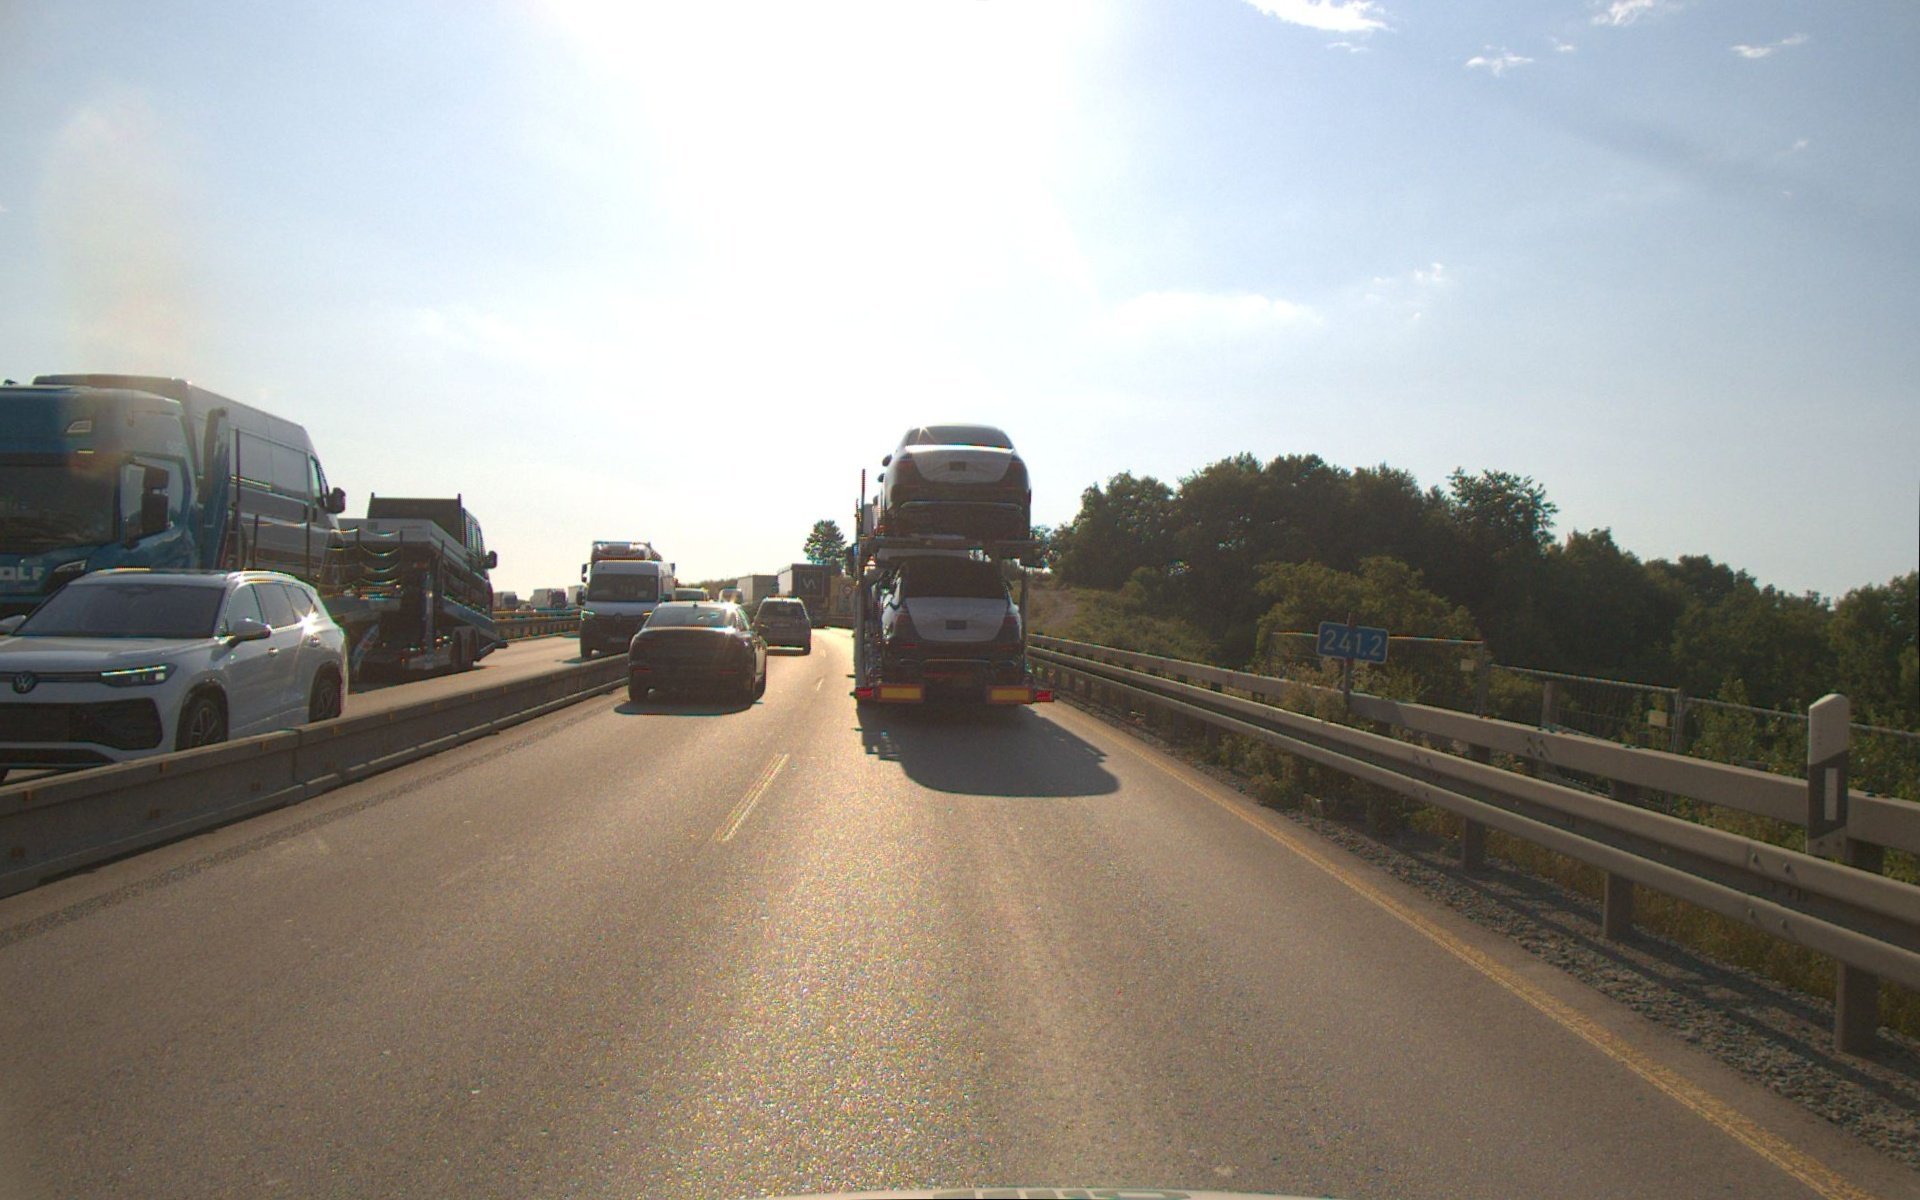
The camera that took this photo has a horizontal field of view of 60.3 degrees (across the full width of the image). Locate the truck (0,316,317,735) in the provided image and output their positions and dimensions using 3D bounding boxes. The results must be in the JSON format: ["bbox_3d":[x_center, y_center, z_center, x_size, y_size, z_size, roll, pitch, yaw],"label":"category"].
[{"bbox_3d":[-9.735,-0.730,19.247,2.453,4.137,5.880,0,0,-3],"label":"truck"}]

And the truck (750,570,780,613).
[{"bbox_3d":[-17.205,-0.701,146.185,2.482,3.712,8.892,0,0,-6],"label":"truck"}]

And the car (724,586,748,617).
[{"bbox_3d":[-18.560,0.102,137.091,1.884,2.536,5.401,0,0,-6],"label":"car"}]

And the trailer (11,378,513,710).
[{"bbox_3d":[-10.402,-0.655,27.442,2.641,3.940,15.380,0,0,-3],"label":"trailer"}]

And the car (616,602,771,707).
[{"bbox_3d":[-4.023,0.766,25.719,1.896,1.423,4.957,0,0,-4],"label":"car"}]

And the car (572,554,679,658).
[{"bbox_3d":[-8.684,0.147,43.447,2.064,2.525,6.060,0,0,-5],"label":"car"}]

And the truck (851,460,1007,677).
[{"bbox_3d":[-0.854,-0.548,34.529,2.782,3.858,9.979,0,0,-4],"label":"truck"}]

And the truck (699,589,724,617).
[{"bbox_3d":[-29.264,0.358,194.846,2.540,3.226,6.668,0,0,-6],"label":"truck"}]

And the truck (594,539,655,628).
[{"bbox_3d":[-15.011,-0.681,74.457,2.271,3.670,11.944,0,0,-10],"label":"truck"}]

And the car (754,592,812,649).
[{"bbox_3d":[-5.277,0.591,49.632,1.659,1.624,3.995,0,0,-6],"label":"car"}]

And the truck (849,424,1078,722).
[{"bbox_3d":[-0.270,-0.316,25.163,2.743,3.558,10.597,0,0,-3],"label":"truck"}]

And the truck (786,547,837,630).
[{"bbox_3d":[-10.095,-0.740,111.829,3.223,5.328,9.921,0,0,-6],"label":"truck"}]

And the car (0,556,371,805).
[{"bbox_3d":[-6.557,0.561,13.735,1.833,1.724,4.594,0,0,-2],"label":"car"}]
